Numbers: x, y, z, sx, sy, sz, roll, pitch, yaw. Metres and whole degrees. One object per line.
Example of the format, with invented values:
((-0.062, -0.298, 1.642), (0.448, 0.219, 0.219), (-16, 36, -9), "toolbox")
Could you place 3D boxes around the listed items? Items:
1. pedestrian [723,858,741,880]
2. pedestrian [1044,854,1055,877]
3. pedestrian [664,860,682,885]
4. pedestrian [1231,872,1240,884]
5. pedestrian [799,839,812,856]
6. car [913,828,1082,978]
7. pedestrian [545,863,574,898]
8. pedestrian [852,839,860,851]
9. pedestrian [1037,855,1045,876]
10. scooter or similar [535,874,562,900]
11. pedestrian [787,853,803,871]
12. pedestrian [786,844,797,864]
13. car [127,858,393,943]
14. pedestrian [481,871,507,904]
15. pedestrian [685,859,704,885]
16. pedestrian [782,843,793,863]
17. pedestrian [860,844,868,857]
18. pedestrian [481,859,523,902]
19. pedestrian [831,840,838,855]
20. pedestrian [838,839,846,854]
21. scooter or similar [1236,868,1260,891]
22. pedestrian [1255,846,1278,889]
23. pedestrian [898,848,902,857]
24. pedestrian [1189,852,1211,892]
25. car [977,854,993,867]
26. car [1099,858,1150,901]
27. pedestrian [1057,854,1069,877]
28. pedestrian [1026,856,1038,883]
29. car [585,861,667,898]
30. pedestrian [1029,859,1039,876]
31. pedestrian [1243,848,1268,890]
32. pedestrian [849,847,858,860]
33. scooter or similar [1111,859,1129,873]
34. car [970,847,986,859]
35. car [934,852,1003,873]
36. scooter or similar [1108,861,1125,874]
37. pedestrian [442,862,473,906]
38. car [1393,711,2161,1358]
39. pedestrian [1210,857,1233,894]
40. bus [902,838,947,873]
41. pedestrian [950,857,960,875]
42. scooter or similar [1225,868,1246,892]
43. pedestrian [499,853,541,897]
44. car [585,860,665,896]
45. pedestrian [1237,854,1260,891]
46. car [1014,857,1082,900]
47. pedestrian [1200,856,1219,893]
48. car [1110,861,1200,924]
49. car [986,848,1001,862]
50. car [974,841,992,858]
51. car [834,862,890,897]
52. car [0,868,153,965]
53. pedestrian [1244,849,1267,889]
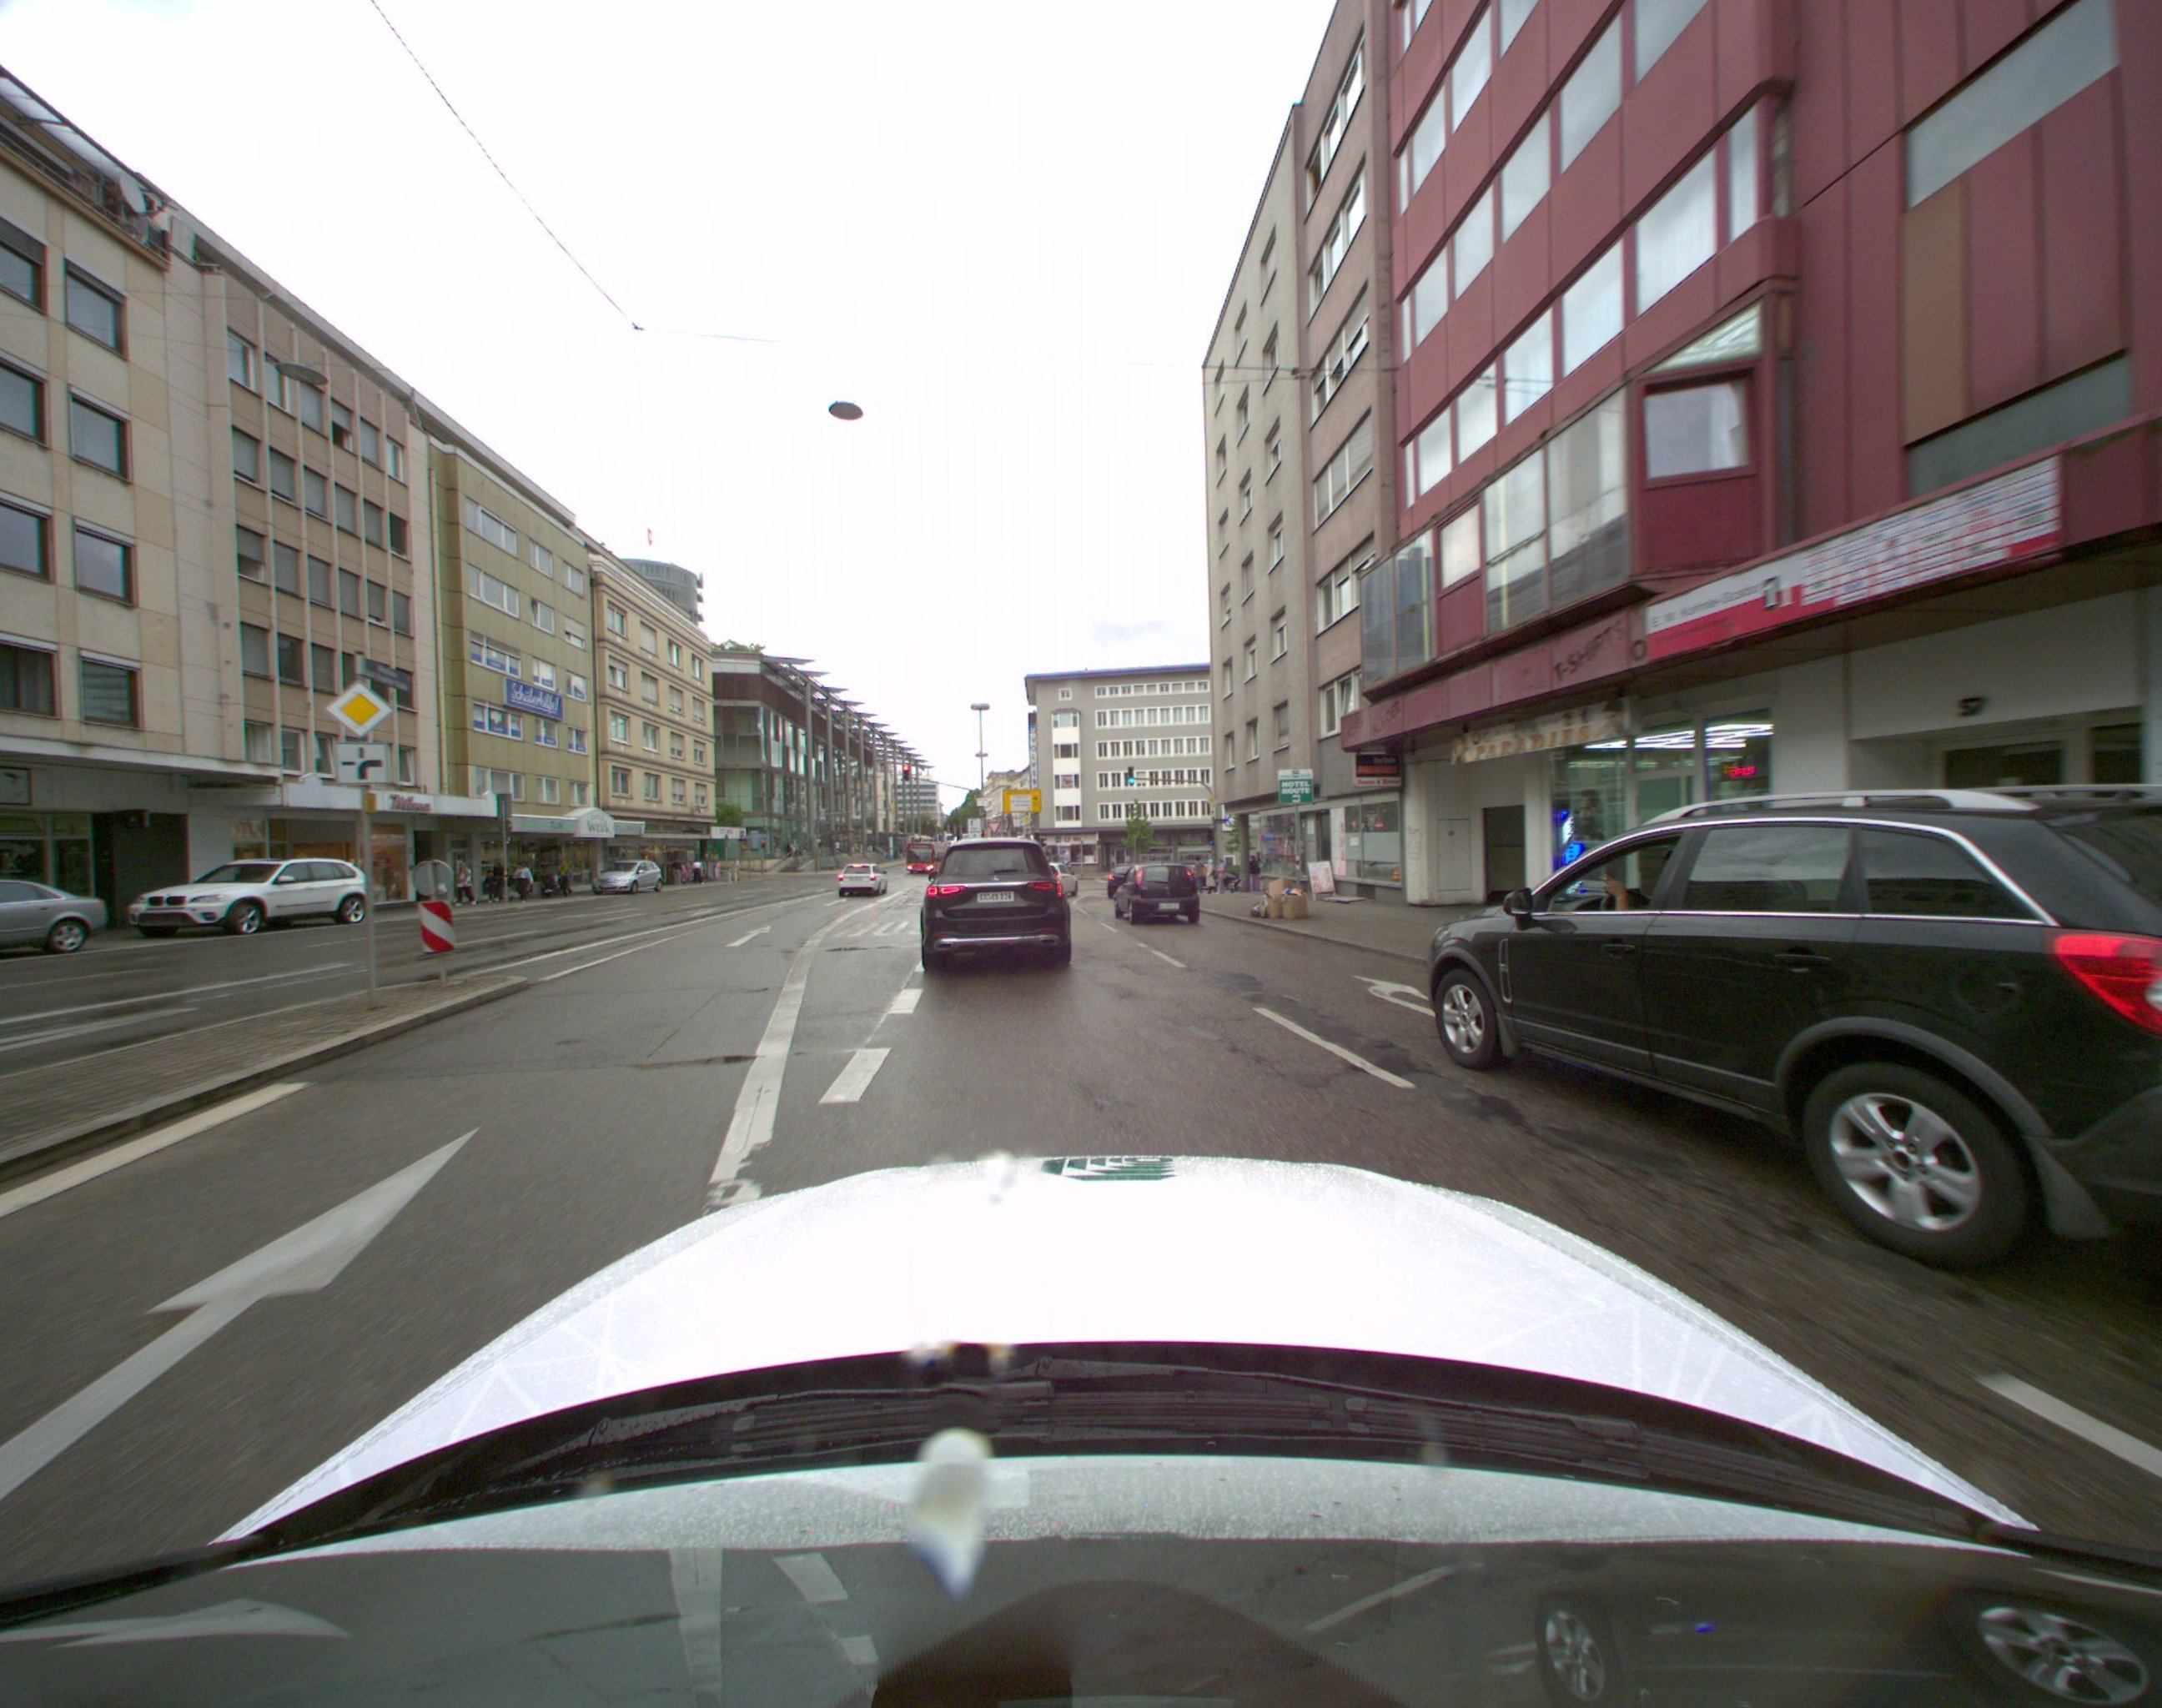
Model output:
((-25.781, 1.127, 60.136), (0.869, 1.586, 1.153), (-1, 0, -3), "pedestrian")
((-2.400, 0.887, 62.839), (0.778, 1.689, 0.639), (1, 0, 3), "pedestrian")
((-25.200, 1.136, 50.321), (0.784, 1.537, 0.679), (0, 0, -8), "pedestrian")
((7.507, 1.160, 39.660), (0.368, 0.571, 0.460), (-3, -1, 13), "pedestrian")
((-27.916, -0.615, 82.521), (1.039, 1.713, 1.004), (0, 0, -12), "pedestrian")
((-1.402, 0.580, 12.578), (2.087, 1.817, 4.777), (-1, 1, -9), "car")
((-22.968, 1.152, 35.872), (0.666, 1.484, 1.062), (1, 0, -7), "pedestrian")
((-32.461, -1.295, 117.298), (1.039, 1.713, 1.004), (0, 0, -12), "pedestrian")
((-3.063, 0.884, 62.787), (0.567, 1.669, 0.502), (0, 0, 1), "pedestrian")
((-22.868, 1.408, 34.993), (0.736, 1.054, 0.699), (1, 0, -8), "scooter or similar")
((-27.638, 0.788, 78.749), (1.030, 1.713, 1.013), (0, -1, 21), "pedestrian")
((-29.532, 0.019, 83.074), (0.874, 1.980, 0.848), (0, -1, -7), "pedestrian")
((-19.905, 1.016, 20.155), (1.846, 1.827, 4.955), (0, 0, -5), "car")
((-23.015, 1.294, 31.934), (0.534, 1.249, 0.719), (1, 0, -8), "pedestrian")
((-23.983, 1.098, 50.561), (0.765, 1.628, 0.851), (0, -1, 40), "pedestrian")
((-29.594, -0.084, 82.066), (0.880, 1.980, 0.972), (0, -1, -7), "pedestrian")
((-29.514, -0.461, 110.714), (1.039, 1.713, 1.004), (0, 0, -12), "pedestrian")
((-23.410, 1.067, 32.949), (0.951, 1.695, 1.084), (1, 0, -8), "pedestrian")
((-29.150, -0.797, 96.164), (0.681, 1.713, 0.847), (0, -1, -11), "pedestrian")
((-28.338, -0.859, 96.555), (0.828, 1.713, 0.799), (0, -1, -12), "pedestrian")
((7.576, 1.153, 36.982), (0.769, 0.986, 1.045), (-2, -4, -7), "scooter or similar")
((8.449, 0.615, 37.055), (0.814, 1.931, 0.732), (-2, -2, 2), "pedestrian")
((-26.442, -0.193, 118.734), (0.509, 1.340, 0.419), (1, 0, -3), "pedestrian")
((5.109, 0.778, 35.051), (0.620, 1.692, 0.787), (-4, -3, 29), "pedestrian")
((-11.476, 0.778, 97.654), (1.734, 1.527, 3.993), (1, 0, -5), "car")
((1.941, 1.041, 34.938), (1.940, 1.574, 4.008), (1, 1, 6), "car")
((-1.417, 0.909, 64.095), (0.830, 1.778, 0.615), (1, 0, -12), "pedestrian")
((-2.995, 0.946, 49.743), (0.711, 1.568, 0.854), (1, -1, -1), "pedestrian")
((-21.779, 1.167, 39.199), (1.845, 1.550, 4.390), (1, 1, -7), "car")
((-3.627, 1.039, 62.778), (0.630, 1.339, 0.585), (1, 0, -12), "pedestrian")
((8.096, 0.696, 37.790), (0.833, 1.865, 0.658), (-4, -4, -2), "pedestrian")
((-30.651, -0.026, 109.704), (1.039, 1.713, 1.004), (0, 0, -12), "pedestrian")
((3.618, 1.066, 74.779), (1.486, 1.257, 0.934), (0, -2, 13), "scooter or similar")
((-16.290, -0.114, 129.065), (2.420, 1.780, 5.143), (1, 0, -6), "car")
((-7.974, 0.621, 58.044), (4.731, 1.446, 1.788), (0, 0, -5), "car")
((3.167, 1.221, 72.973), (1.370, 1.187, 0.546), (-1, 0, 13), "scooter or similar")
((-22.784, 1.086, 29.758), (0.641, 1.574, 0.610), (-1, -1, -6), "pedestrian")
((3.667, 0.451, 4.367), (1.905, 1.785, 4.291), (-2, 1, -7), "car")
((6.389, 0.994, 37.091), (0.736, 1.635, 0.600), (-6, -5, 35), "pedestrian")
((-16.196, 0.220, 85.563), (2.916, 3.321, 18.442), (0, 0, -5), "bus")
((-13.431, 1.287, 86.994), (0.951, 1.886, 0.810), (1, 0, 0), "pedestrian")
((7.521, 1.284, 39.627), (0.963, 1.109, 0.657), (-3, -1, 13), "scooter or similar")
((-22.080, 0.817, 32.070), (0.951, 1.714, 1.088), (1, 0, -8), "pedestrian")
((-21.747, 1.104, 39.038), (1.696, 1.563, 4.195), (0, 0, -4), "car")
((8.115, 0.902, 39.496), (1.029, 1.722, 0.841), (-3, -1, 11), "pedestrian")
((-1.323, 0.998, 34.699), (1.937, 1.574, 4.013), (1, 1, 12), "car")
((5.966, 0.945, 37.773), (0.538, 1.637, 0.836), (-4, -4, -6), "pedestrian")
((1.731, 0.907, 20.249), (1.713, 1.420, 3.765), (0, -1, -3), "car")
((-12.137, 0.108, 112.917), (1.860, 1.826, 4.092), (1, 0, -8), "car")
((-20.414, -0.965, 169.723), (2.433, 3.465, 6.160), (1, 0, 4), "car")
((-9.958, 1.126, 37.366), (1.790, 1.415, 4.621), (-1, 0, -7), "car")
((-19.256, 1.078, 13.740), (1.862, 1.608, 4.871), (0, 0, -5), "car")
((7.755, 0.667, 36.157), (0.832, 1.723, 0.618), (-2, -3, 2), "pedestrian")
